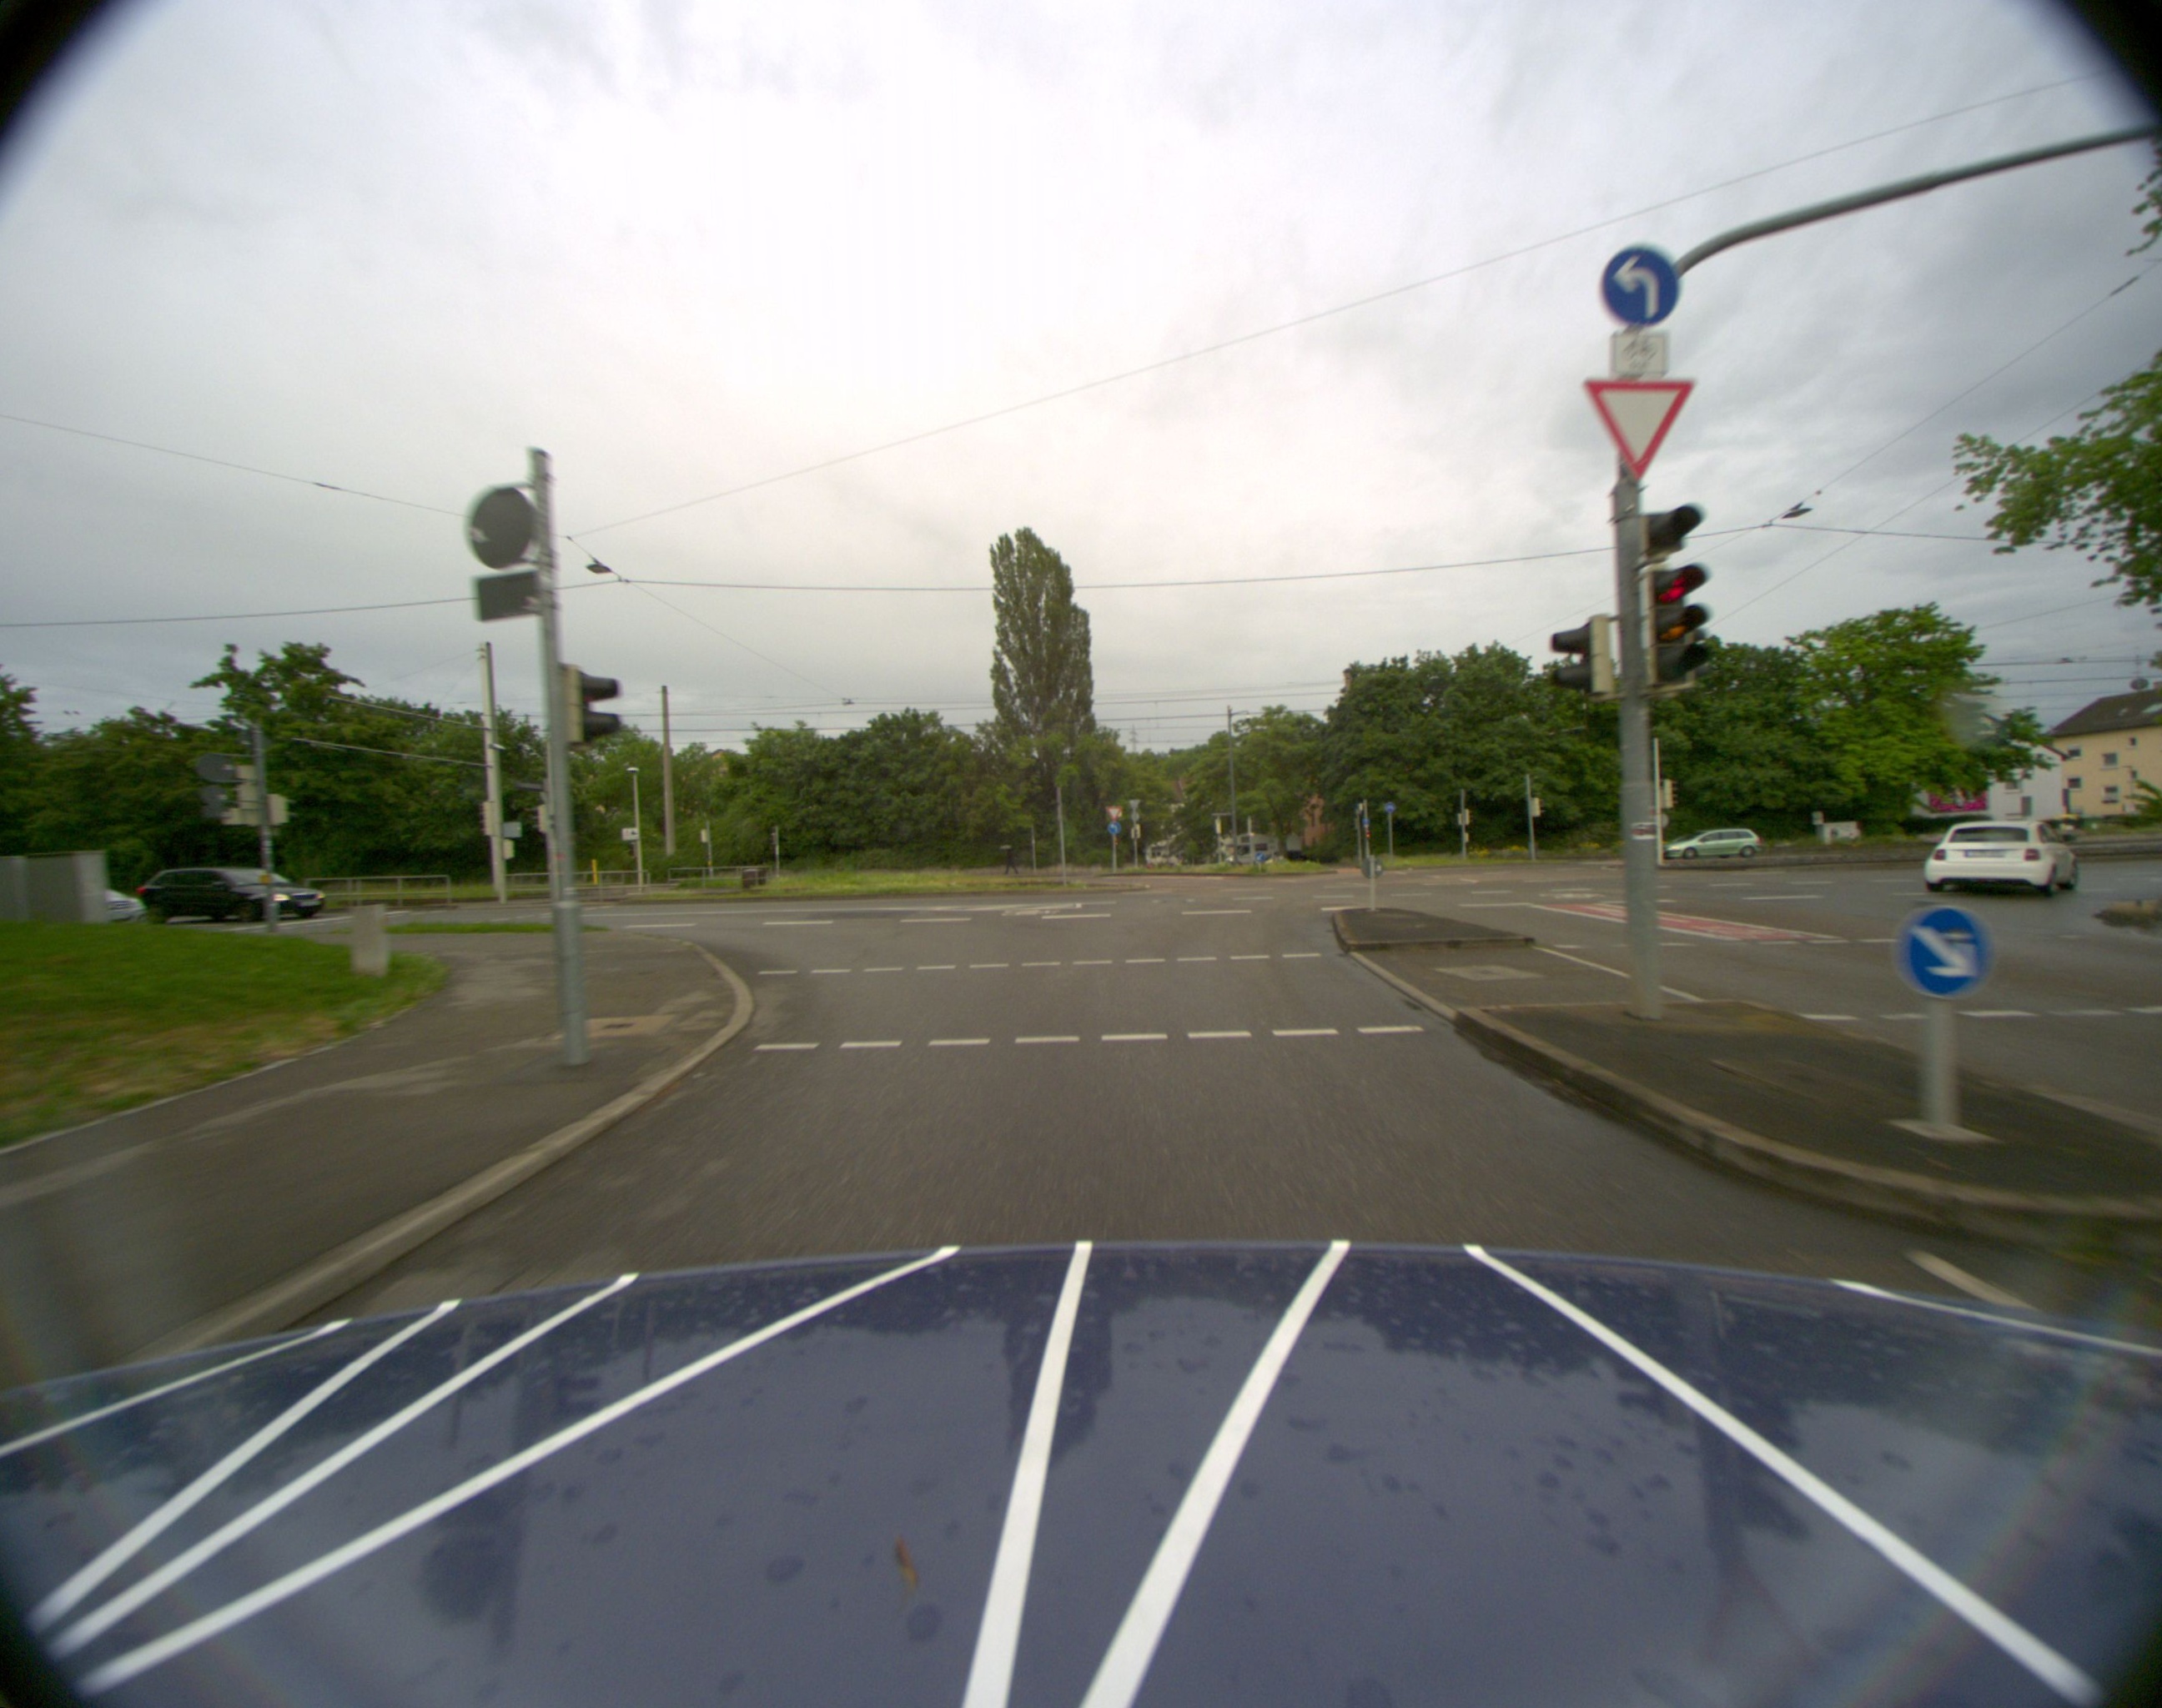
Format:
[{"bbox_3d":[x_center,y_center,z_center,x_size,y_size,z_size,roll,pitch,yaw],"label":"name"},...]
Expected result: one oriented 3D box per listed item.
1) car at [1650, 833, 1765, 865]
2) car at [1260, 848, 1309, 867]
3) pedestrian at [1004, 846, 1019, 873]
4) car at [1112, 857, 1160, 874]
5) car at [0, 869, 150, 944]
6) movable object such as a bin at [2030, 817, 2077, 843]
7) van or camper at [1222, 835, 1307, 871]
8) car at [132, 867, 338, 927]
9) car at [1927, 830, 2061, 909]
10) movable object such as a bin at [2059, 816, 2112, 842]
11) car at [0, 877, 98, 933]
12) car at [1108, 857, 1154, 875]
[{"bbox_3d":[31.989,-0.226,38.893,4.196,1.440,1.890,-2,0,3],"label":"car"},{"bbox_3d":[16.300,0.285,60.933,3.471,1.346,1.678,-2,0,-3],"label":"car"},{"bbox_3d":[-4.271,0.363,46.481,0.682,1.597,0.810,-4,-1,4],"label":"pedestrian"},{"bbox_3d":[4.843,1.002,67.311,3.998,1.346,1.678,-2,0,-3],"label":"car"},{"bbox_3d":[-24.942,1.221,17.850,3.860,1.545,1.724,-1,3,0],"label":"car"},{"bbox_3d":[58.396,-1.442,45.634,1.134,1.409,1.188,-4,-1,1],"label":"movable object such as a bin"},{"bbox_3d":[15.338,-0.059,63.757,6.427,2.738,2.430,-2,0,0],"label":"van or camper"},{"bbox_3d":[-23.059,1.152,20.805,3.788,1.394,1.606,-1,2,1],"label":"car"},{"bbox_3d":[19.940,0.259,16.551,4.007,1.474,1.688,-2,1,-37],"label":"car"},{"bbox_3d":[60.200,-1.498,45.537,1.299,1.409,1.316,-4,-1,1],"label":"movable object such as a bin"},{"bbox_3d":[-30.096,1.422,20.964,3.788,1.394,1.606,-1,2,1],"label":"car"},{"bbox_3d":[4.512,1.089,69.484,3.998,1.539,1.678,-2,0,-3],"label":"car"}]
